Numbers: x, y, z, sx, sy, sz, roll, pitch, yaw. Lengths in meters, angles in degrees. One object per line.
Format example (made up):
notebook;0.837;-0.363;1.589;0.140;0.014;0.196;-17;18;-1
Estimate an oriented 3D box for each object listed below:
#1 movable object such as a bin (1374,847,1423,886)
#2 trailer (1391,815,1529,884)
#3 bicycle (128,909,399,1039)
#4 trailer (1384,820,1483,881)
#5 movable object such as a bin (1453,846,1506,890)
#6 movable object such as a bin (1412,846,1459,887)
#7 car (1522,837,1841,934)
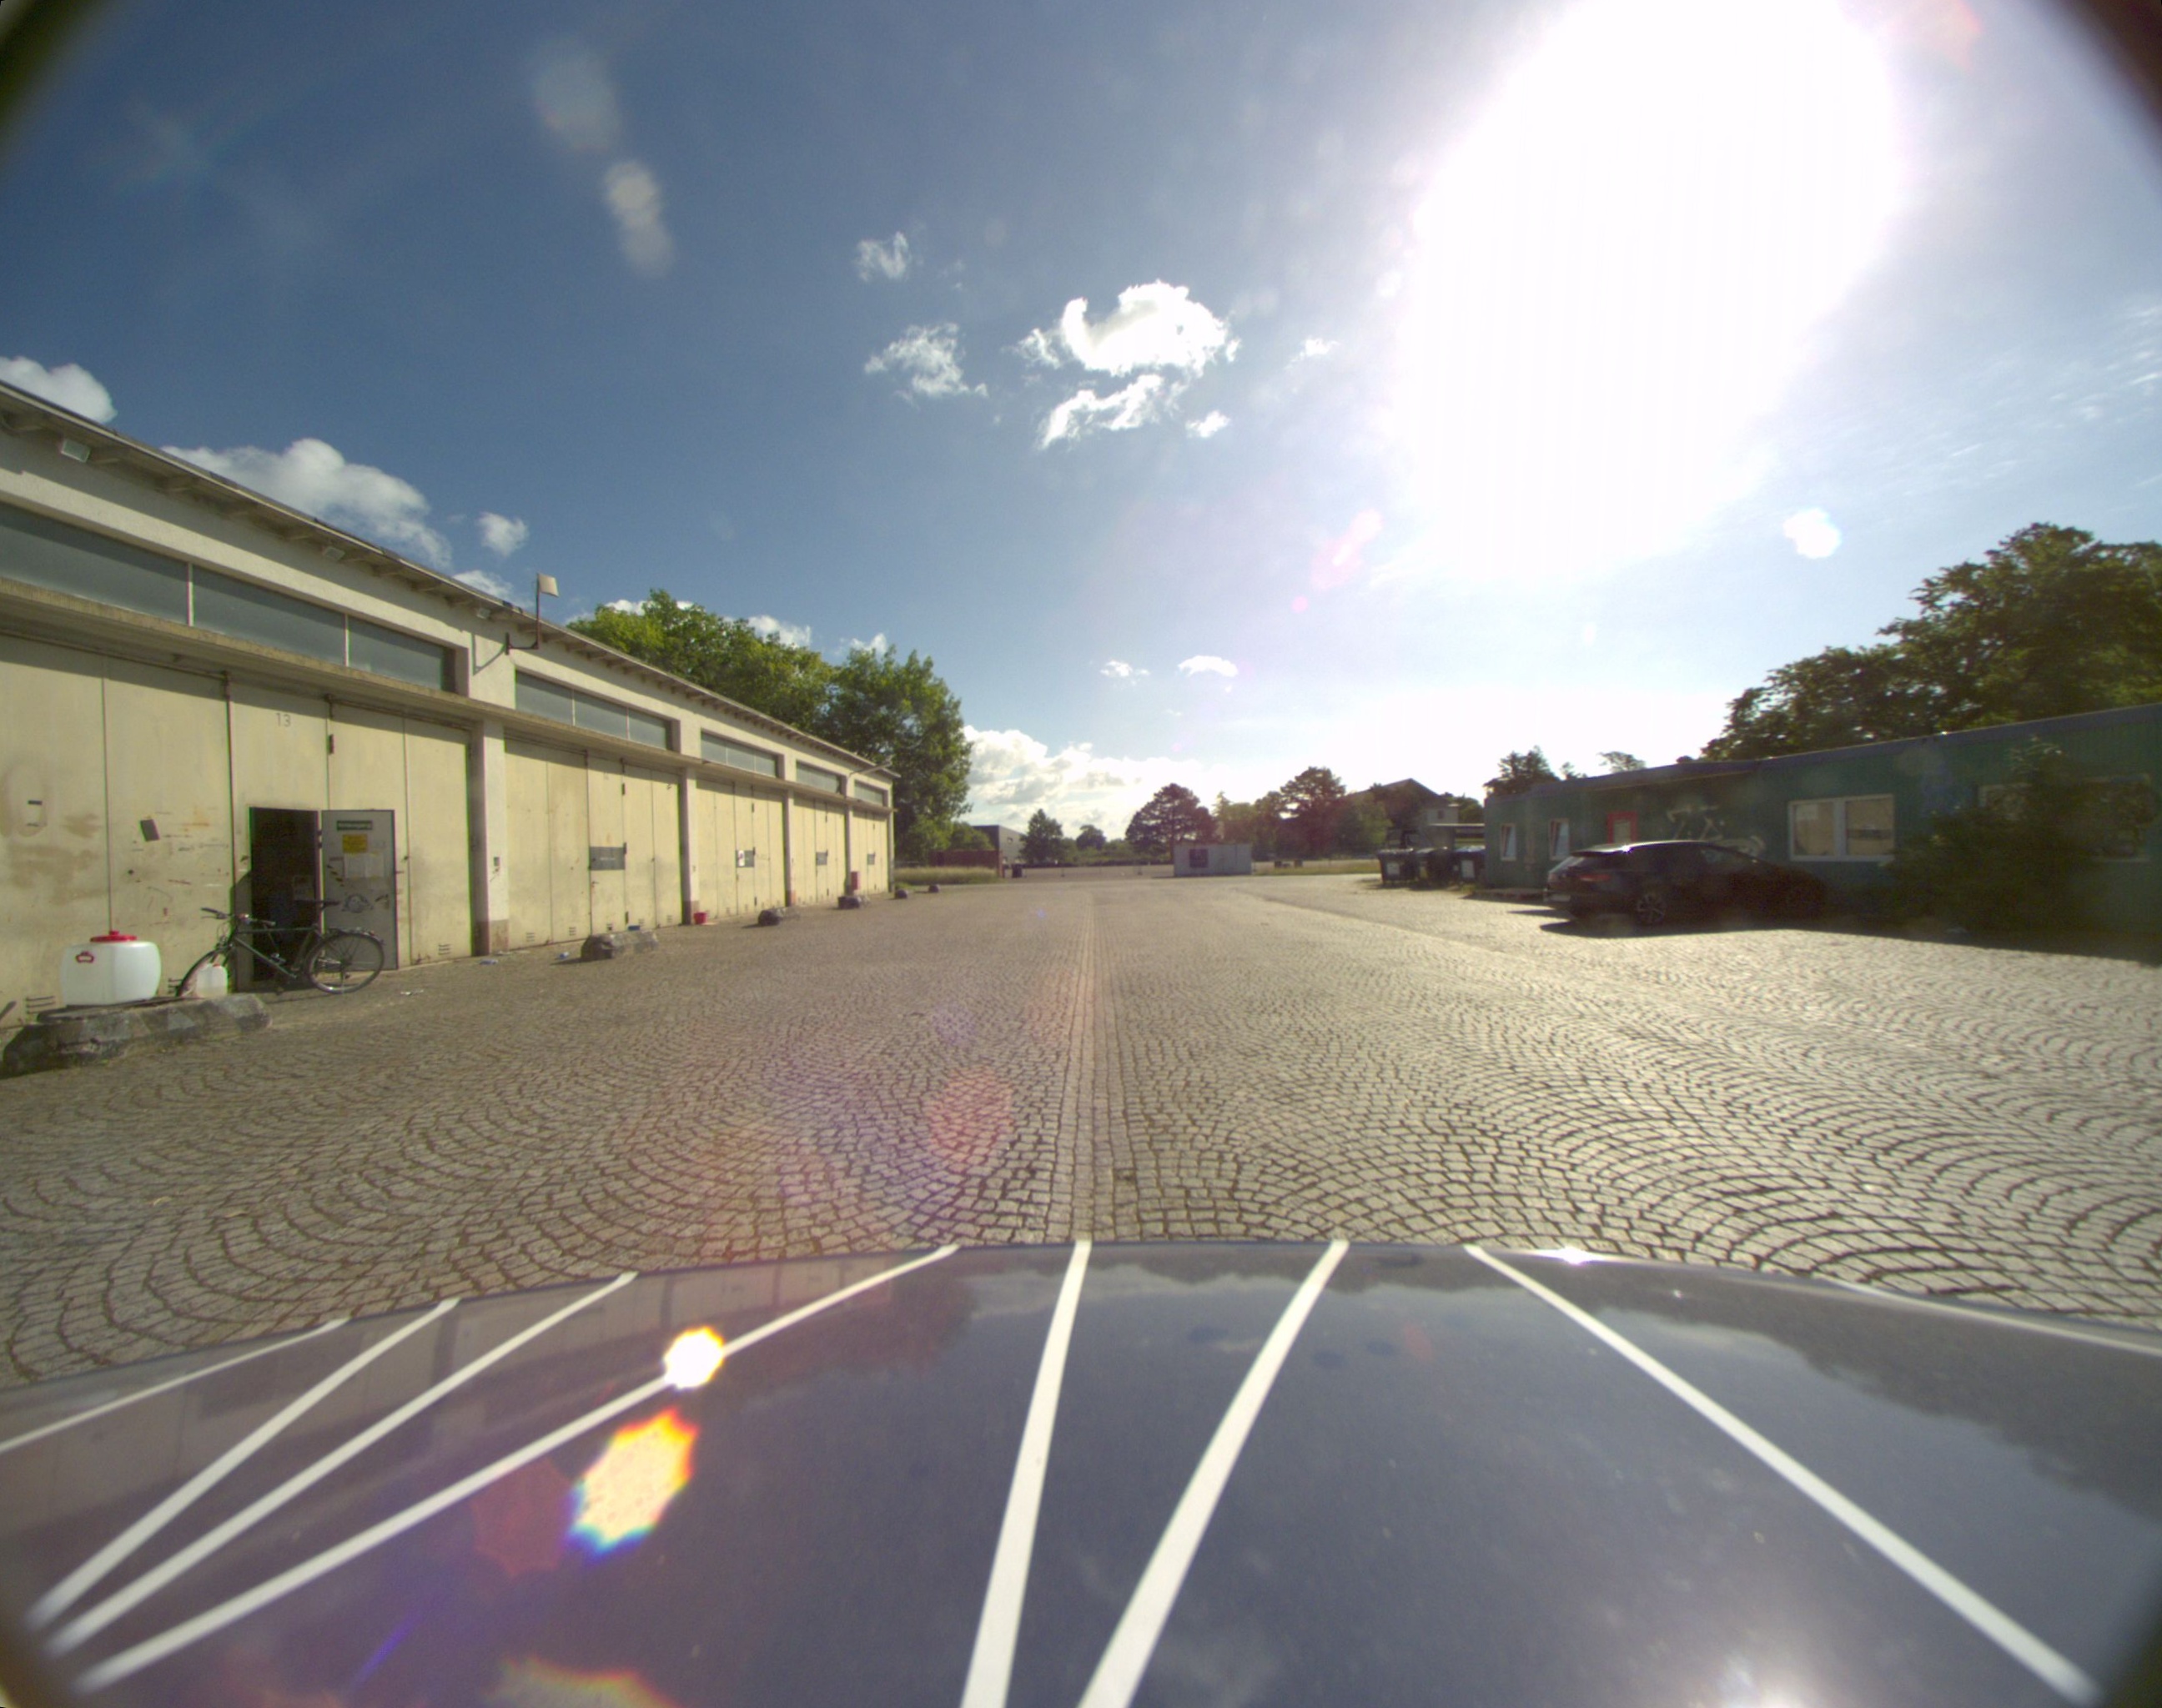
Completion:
movable object such as a bin;12.624;0.501;30.183;1.434;1.449;1.158;-2;1;44
trailer;15.531;-0.177;31.289;4.649;2.553;1.951;-3;1;-3
bicycle;-8.552;1.200;8.088;0.665;1.062;1.825;-2;1;13
trailer;15.594;-0.149;33.739;3.393;2.455;2.044;-3;1;2
movable object such as a bin;13.817;0.458;26.377;0.885;1.449;1.439;-3;1;-10
movable object such as a bin;13.087;0.450;28.065;1.020;1.449;1.440;-3;1;0
car;10.734;0.521;13.820;4.262;1.441;1.931;-3;1;-1
